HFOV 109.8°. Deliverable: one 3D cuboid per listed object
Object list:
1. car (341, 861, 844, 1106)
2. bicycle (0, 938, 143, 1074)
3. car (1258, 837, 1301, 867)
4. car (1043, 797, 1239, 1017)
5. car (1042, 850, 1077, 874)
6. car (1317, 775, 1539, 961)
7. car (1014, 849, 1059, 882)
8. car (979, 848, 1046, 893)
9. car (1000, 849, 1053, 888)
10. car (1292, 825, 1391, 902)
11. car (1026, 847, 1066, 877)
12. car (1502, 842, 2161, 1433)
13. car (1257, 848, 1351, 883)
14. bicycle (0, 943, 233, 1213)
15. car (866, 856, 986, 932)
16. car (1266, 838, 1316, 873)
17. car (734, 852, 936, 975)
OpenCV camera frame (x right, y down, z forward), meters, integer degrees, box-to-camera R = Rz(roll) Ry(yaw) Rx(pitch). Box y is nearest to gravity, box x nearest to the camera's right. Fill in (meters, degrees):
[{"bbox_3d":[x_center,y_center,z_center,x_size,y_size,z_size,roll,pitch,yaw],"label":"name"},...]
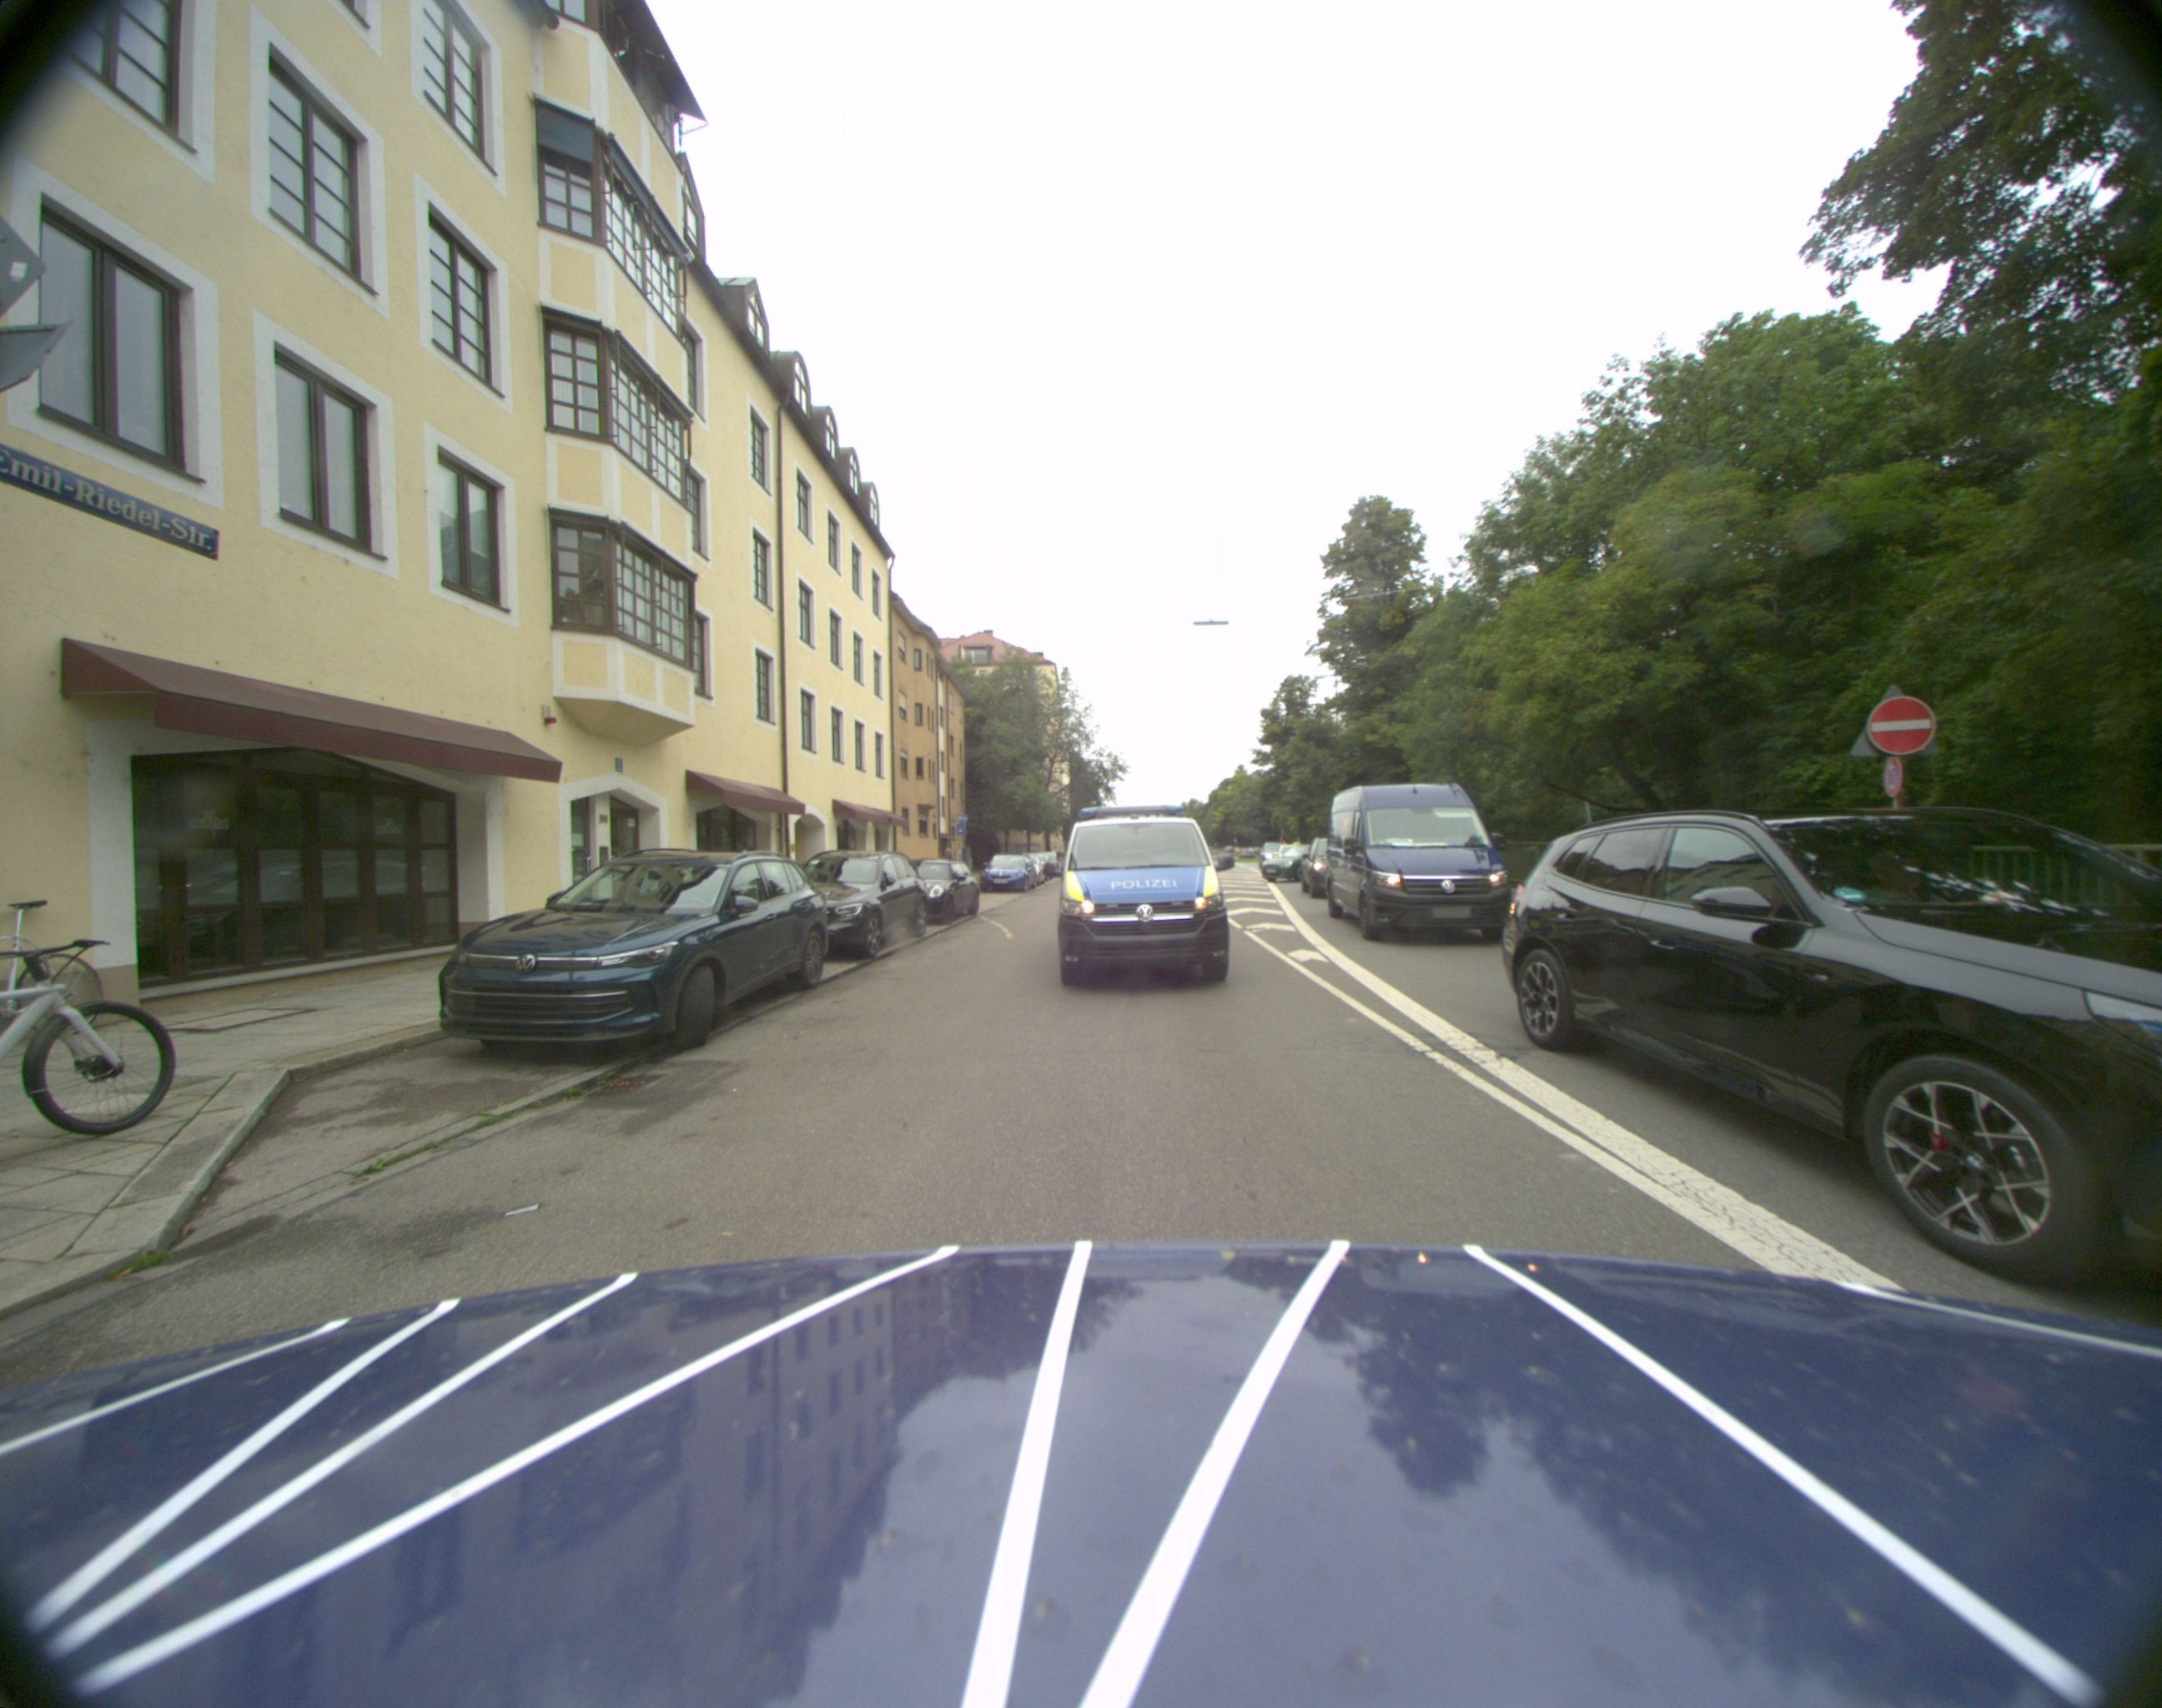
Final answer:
[{"bbox_3d":[-4.143,0.937,7.616,2.112,1.613,4.496,-1,1,0],"label":"car"},{"bbox_3d":[-8.150,1.181,5.623,0.262,0.897,1.695,3,1,1],"label":"bicycle"},{"bbox_3d":[12.471,-0.158,48.112,2.314,1.719,5.219,-3,0,12],"label":"car"},{"bbox_3d":[0.660,0.501,10.206,1.826,2.087,5.633,-2,0,1],"label":"car"},{"bbox_3d":[-1.374,0.493,51.068,1.882,1.474,4.300,-3,0,4],"label":"car"},{"bbox_3d":[5.624,0.129,13.337,2.004,2.477,6.236,-1,1,10],"label":"car"},{"bbox_3d":[-2.343,0.570,40.957,1.883,1.642,4.585,-3,0,2],"label":"car"},{"bbox_3d":[-2.667,0.595,30.836,1.882,1.642,5.617,0,1,4],"label":"car"},{"bbox_3d":[-2.506,0.633,36.088,1.883,1.642,4.617,-3,0,3],"label":"car"},{"bbox_3d":[7.489,0.211,22.417,2.004,1.925,5.810,-3,0,12],"label":"car"},{"bbox_3d":[-2.048,0.448,45.689,1.882,1.642,4.300,-3,0,4],"label":"car"},{"bbox_3d":[4.014,0.738,3.638,1.920,1.557,4.295,0,1,5],"label":"car"},{"bbox_3d":[8.805,0.413,29.923,3.617,1.207,1.493,-2,1,-32],"label":"car"},{"bbox_3d":[-5.348,1.128,3.546,0.430,1.152,2.052,0,1,0],"label":"bicycle"},{"bbox_3d":[-3.519,0.839,17.972,1.764,1.514,3.933,1,1,4],"label":"car"},{"bbox_3d":[10.719,0.041,39.107,2.102,1.581,5.572,-3,0,12],"label":"car"},{"bbox_3d":[-3.896,0.843,12.858,1.817,1.580,4.164,3,1,3],"label":"car"}]
